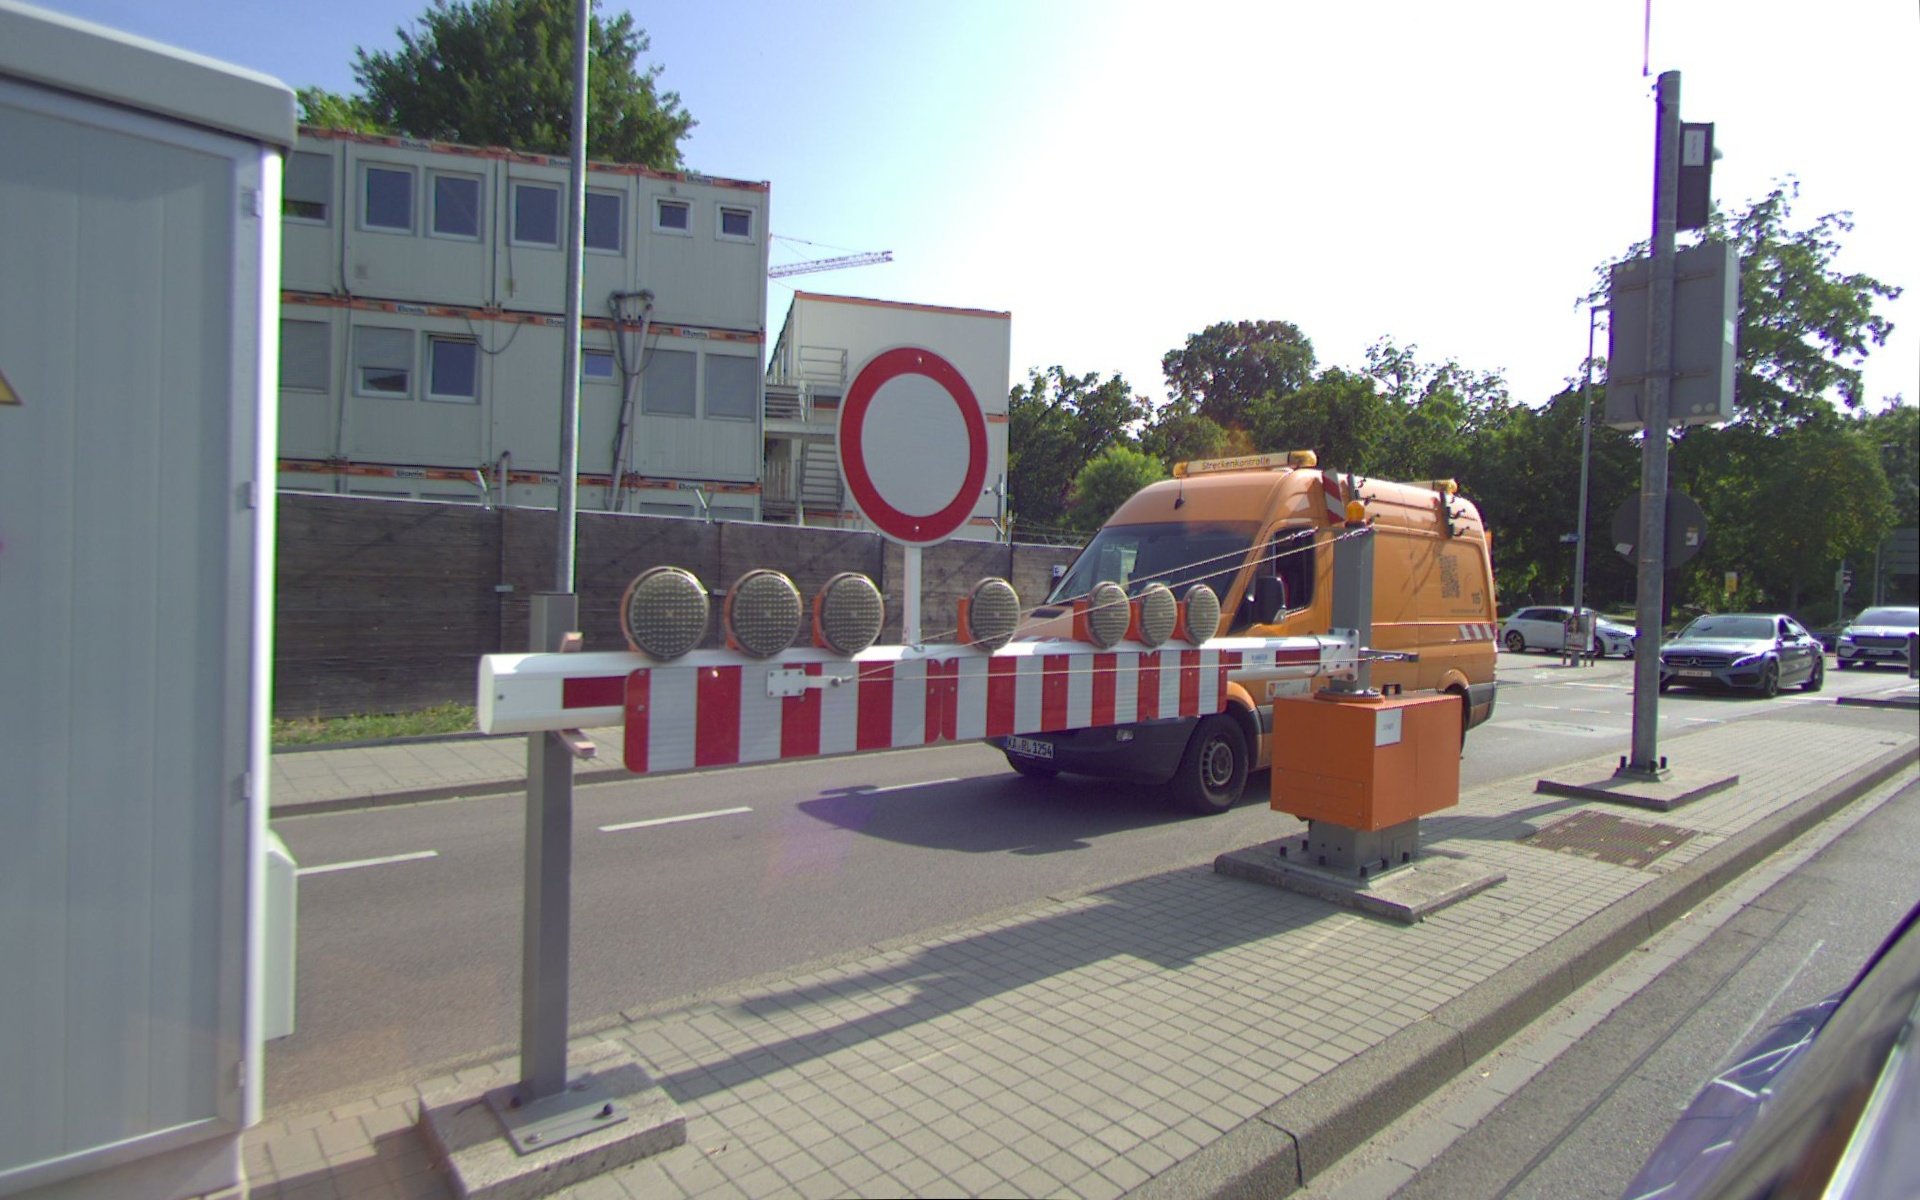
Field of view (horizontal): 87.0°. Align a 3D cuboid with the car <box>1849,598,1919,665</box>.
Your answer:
[{"bbox_3d":[24.605,0.775,26.127,4.175,1.590,1.896,0,0,-40],"label":"car"}]

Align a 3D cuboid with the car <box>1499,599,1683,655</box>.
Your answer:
[{"bbox_3d":[18.695,0.750,30.209,1.958,1.423,4.292,1,1,-22],"label":"car"}]

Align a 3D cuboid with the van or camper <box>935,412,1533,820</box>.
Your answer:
[{"bbox_3d":[2.736,0.118,8.888,5.952,2.503,1.990,1,0,-39],"label":"van or camper"}]

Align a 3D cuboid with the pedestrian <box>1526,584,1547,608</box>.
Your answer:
[{"bbox_3d":[47.235,-0.327,82.880,1.048,1.853,0.987,1,1,-10],"label":"pedestrian"}]
